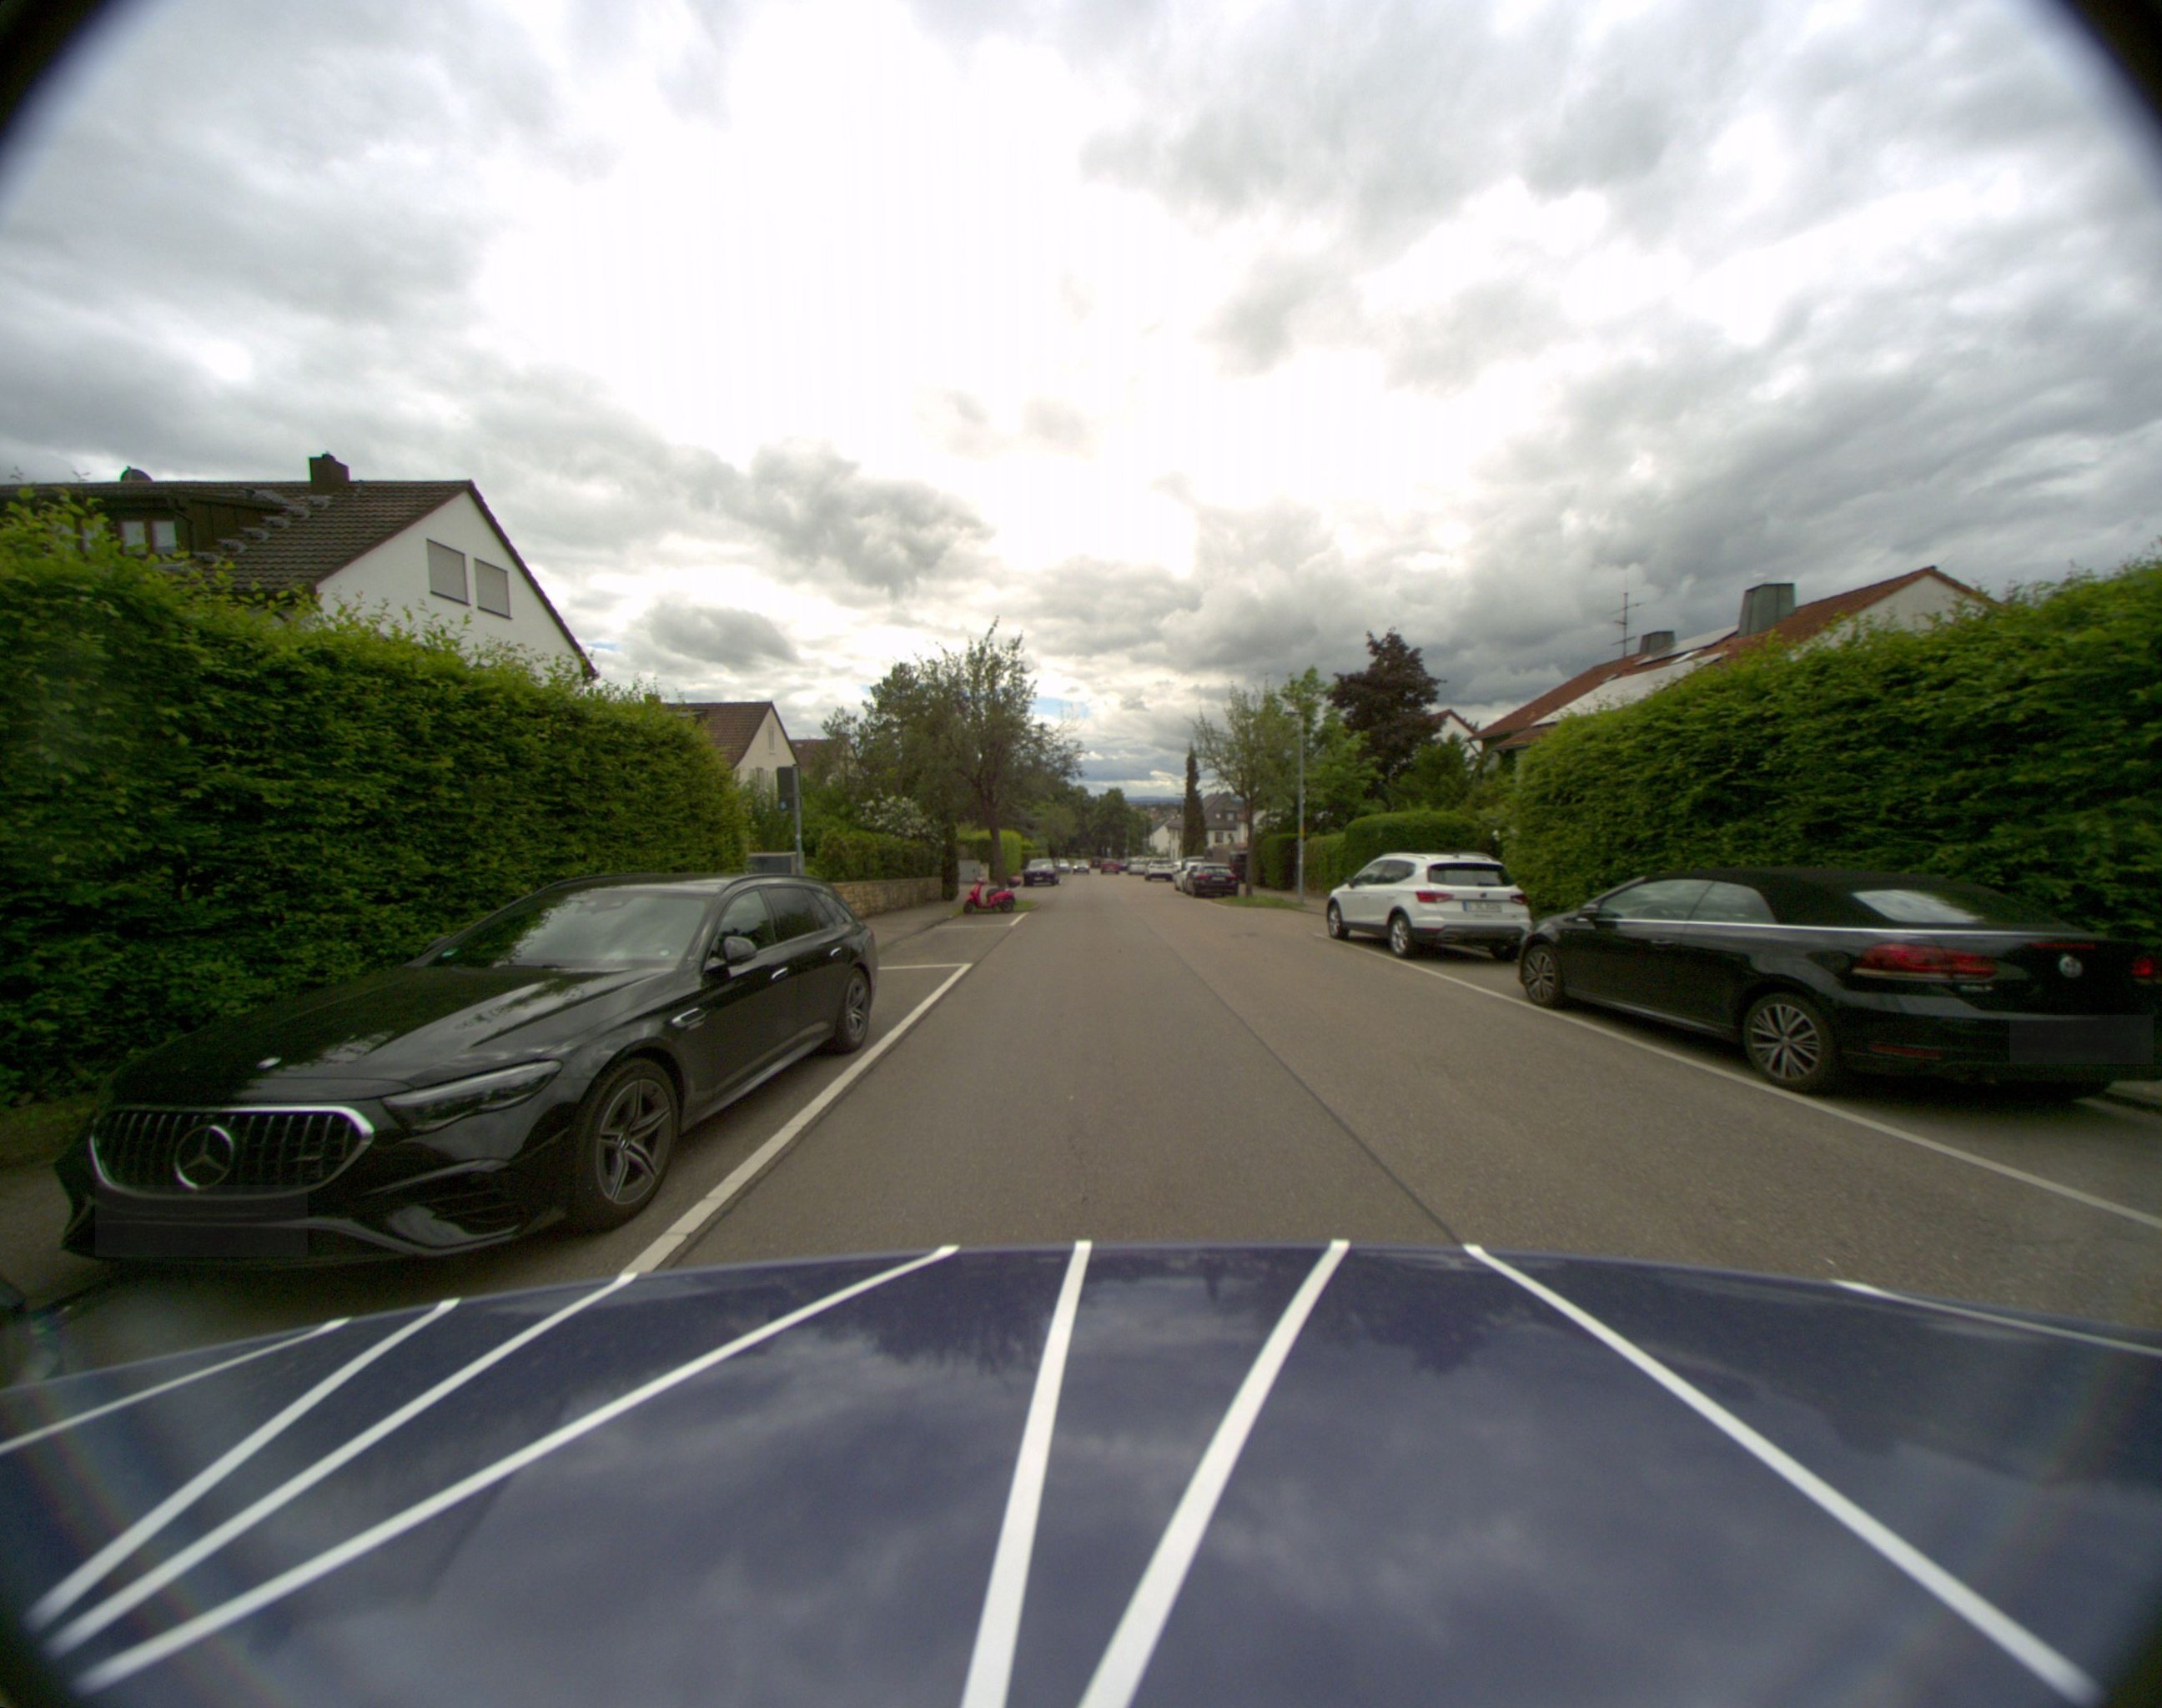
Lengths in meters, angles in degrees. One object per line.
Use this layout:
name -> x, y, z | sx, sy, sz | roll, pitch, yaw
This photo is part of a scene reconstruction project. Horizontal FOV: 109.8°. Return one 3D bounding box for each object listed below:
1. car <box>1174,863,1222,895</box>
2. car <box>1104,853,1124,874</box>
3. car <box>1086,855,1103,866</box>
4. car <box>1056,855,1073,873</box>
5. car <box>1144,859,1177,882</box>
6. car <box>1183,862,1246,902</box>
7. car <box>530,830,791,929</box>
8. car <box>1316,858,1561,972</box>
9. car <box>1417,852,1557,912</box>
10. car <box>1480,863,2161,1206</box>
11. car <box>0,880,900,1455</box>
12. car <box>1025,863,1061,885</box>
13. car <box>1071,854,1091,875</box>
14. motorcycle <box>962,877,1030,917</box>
car -> 5.590, 1.163, 36.663 | 1.725, 1.368, 4.000 | 0, 0, 0
car -> 3.476, 0.994, 81.266 | 1.872, 2.002, 4.000 | -3, 0, 0
car -> 2.177, 1.085, 121.513 | 2.000, 1.712, 3.997 | -1, 0, -8
car -> -2.033, 1.200, 94.232 | 1.747, 2.002, 4.000 | -3, 0, 1
car -> 5.711, 1.168, 55.006 | 1.935, 1.521, 4.000 | -1, 1, 1
car -> 5.480, 1.118, 31.742 | 1.944, 1.540, 4.005 | 0, 0, 0
car -> -8.111, 0.462, 14.974 | 3.999, 1.496, 1.850 | 5, 1, -4
car -> 5.360, 0.813, 12.152 | 1.891, 1.481, 4.342 | 0, 0, 0
car -> 10.594, 0.712, 19.988 | 2.887, 1.497, 1.499 | 0, 0, 4
car -> 5.291, 0.908, 5.950 | 1.786, 1.481, 4.738 | 3, 1, 0
car -> -2.852, 1.004, 4.836 | 1.928, 1.485, 5.209 | 0, 0, 3
car -> -2.287, 1.196, 47.053 | 1.998, 1.221, 3.999 | -1, 0, 0
car -> -0.050, 1.097, 82.360 | 1.999, 2.002, 3.998 | -3, 2, -2
motorcycle -> -2.588, 1.285, 23.151 | 1.942, 1.127, 0.658 | 0, 1, -27
